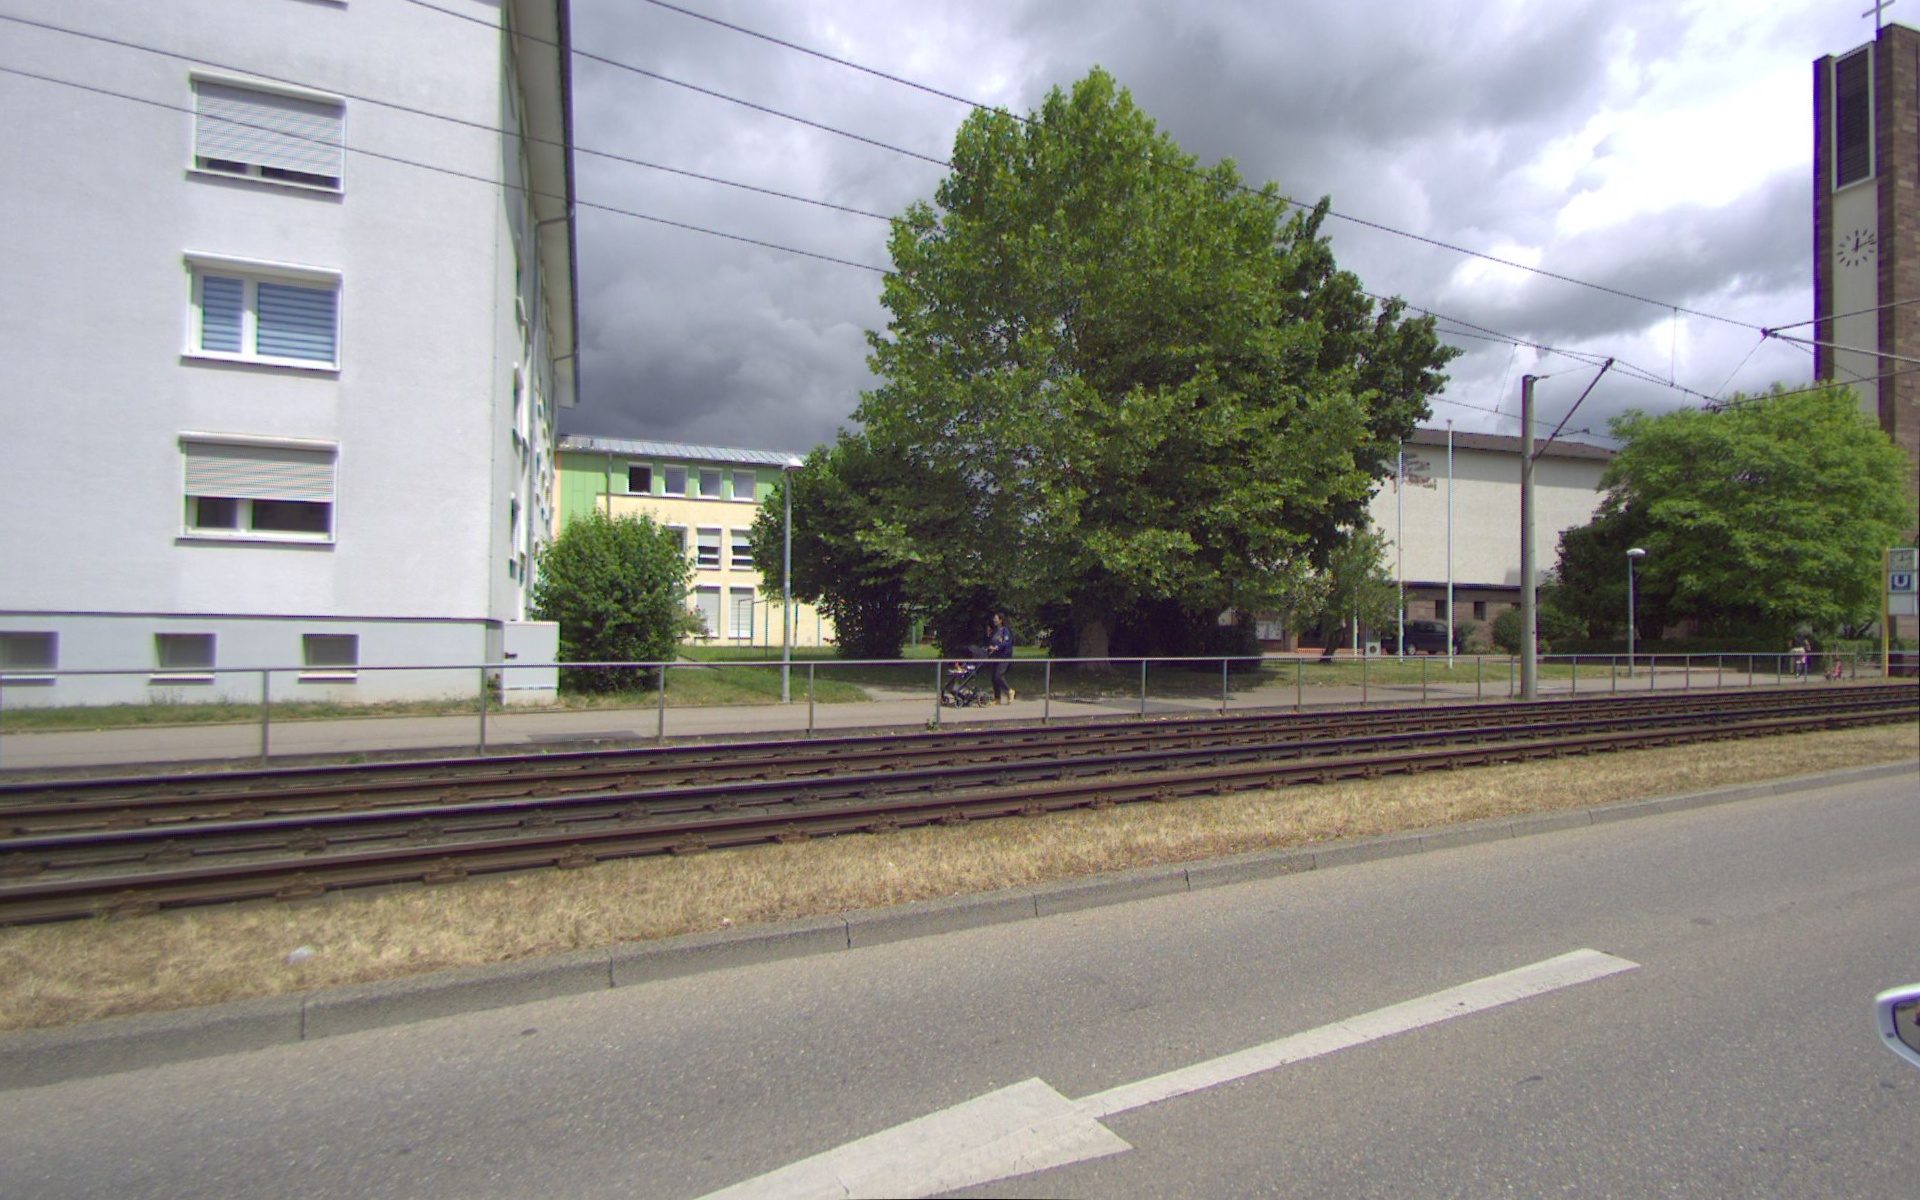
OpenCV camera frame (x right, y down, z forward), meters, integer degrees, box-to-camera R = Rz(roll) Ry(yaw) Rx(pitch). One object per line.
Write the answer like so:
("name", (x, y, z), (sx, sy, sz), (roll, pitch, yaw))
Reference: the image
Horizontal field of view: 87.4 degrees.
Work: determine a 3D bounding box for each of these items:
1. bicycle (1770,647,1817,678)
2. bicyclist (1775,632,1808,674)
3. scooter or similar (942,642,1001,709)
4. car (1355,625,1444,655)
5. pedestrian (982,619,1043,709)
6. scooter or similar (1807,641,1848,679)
("bicycle", (29.086, 2.180, 35.044), (1.906, 1.007, 0.634), (2, 0, -31))
("bicyclist", (28.930, 1.839, 34.933), (0.781, 1.448, 0.630), (2, 0, -30))
("scooter or similar", (0.200, 1.308, 17.544), (0.812, 1.130, 0.601), (2, -1, -32))
("car", (25.561, 2.318, 58.460), (4.399, 1.595, 1.995), (2, 0, -12))
("pedestrian", (0.942, 1.125, 18.003), (0.864, 1.560, 0.609), (2, -1, -32))
("scooter or similar", (29.664, 2.035, 34.346), (1.384, 1.253, 0.646), (1, 0, -30))
